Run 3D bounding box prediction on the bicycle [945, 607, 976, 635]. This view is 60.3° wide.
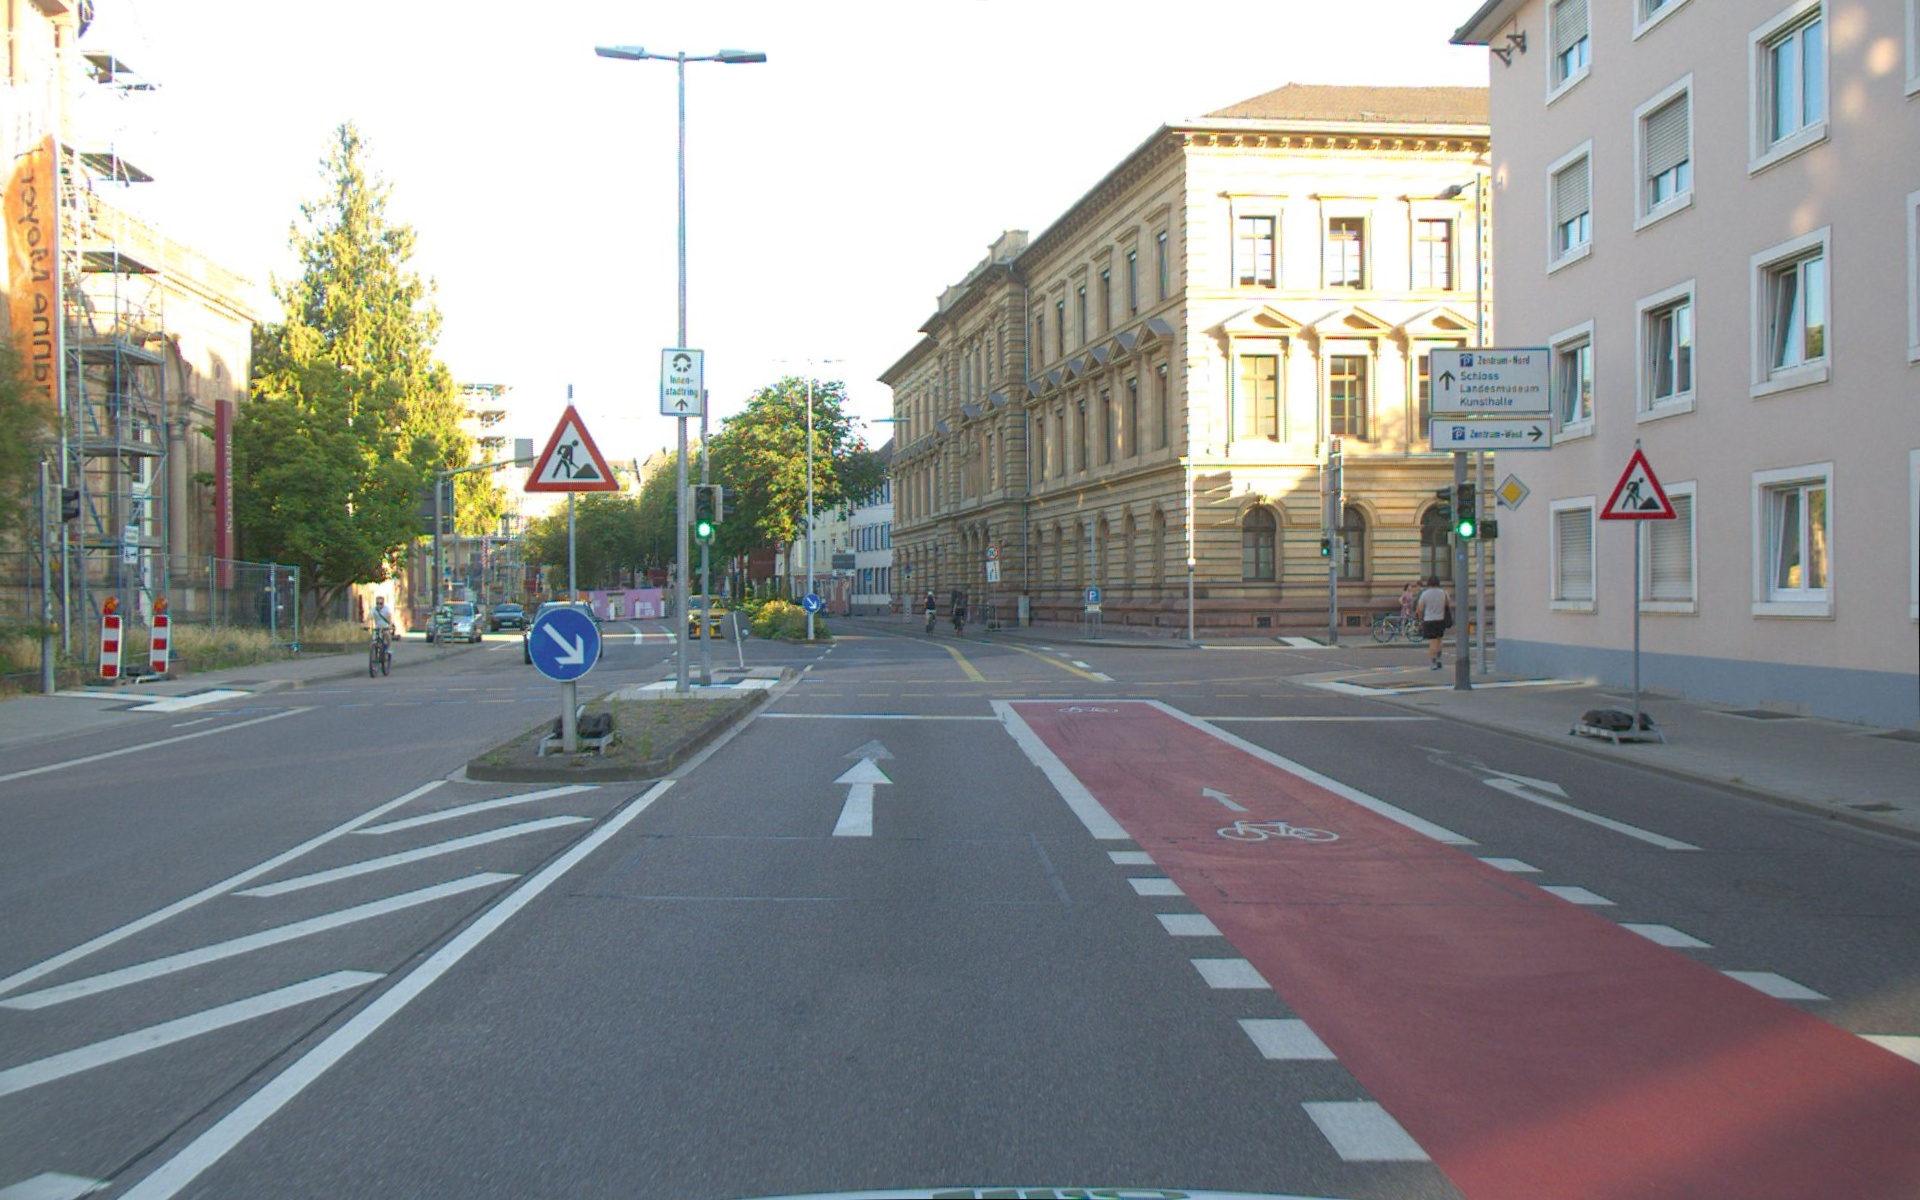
[{"bbox_3d":[0.011,0.829,66.168,0.642,1.089,2.249,2,-1,-15],"label":"bicycle"}]

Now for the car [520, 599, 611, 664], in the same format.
[{"bbox_3d":[-9.988,0.761,42.142,1.789,1.534,4.419,-1,0,-7],"label":"car"}]

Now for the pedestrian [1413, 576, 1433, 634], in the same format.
[{"bbox_3d":[15.108,0.161,53.958,0.523,1.890,0.622,-1,0,23],"label":"pedestrian"}]

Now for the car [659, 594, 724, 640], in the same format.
[{"bbox_3d":[-9.780,0.589,60.488,1.808,1.574,4.117,-1,0,-2],"label":"car"}]

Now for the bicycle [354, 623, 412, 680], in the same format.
[{"bbox_3d":[-12.140,1.067,34.849,0.739,1.109,1.929,-2,0,-8],"label":"bicycle"}]

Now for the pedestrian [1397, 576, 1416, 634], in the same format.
[{"bbox_3d":[14.648,0.165,54.305,0.446,1.890,0.421,0,0,-44],"label":"pedestrian"}]

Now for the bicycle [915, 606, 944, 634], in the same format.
[{"bbox_3d":[-1.223,0.797,65.799,0.659,1.089,1.891,1,-1,-18],"label":"bicycle"}]

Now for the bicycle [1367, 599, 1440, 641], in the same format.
[{"bbox_3d":[13.754,0.606,51.335,2.010,1.228,0.861,-1,2,-4],"label":"bicycle"}]

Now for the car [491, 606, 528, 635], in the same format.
[{"bbox_3d":[-22.979,1.044,84.391,1.651,1.374,3.873,-2,0,-13],"label":"car"}]

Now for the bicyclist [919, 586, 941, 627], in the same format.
[{"bbox_3d":[-1.188,0.251,65.736,0.658,1.593,0.695,2,-1,-18],"label":"bicyclist"}]

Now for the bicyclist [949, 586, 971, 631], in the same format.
[{"bbox_3d":[-0.004,0.329,66.260,0.639,1.791,0.861,2,0,-15],"label":"bicyclist"}]

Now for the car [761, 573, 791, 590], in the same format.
[{"bbox_3d":[-17.187,-1.728,154.538,1.787,1.587,3.838,0,0,-23],"label":"car"}]

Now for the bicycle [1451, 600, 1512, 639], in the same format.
[{"bbox_3d":[16.249,0.599,51.557,1.689,1.164,0.695,-1,2,-4],"label":"bicycle"}]

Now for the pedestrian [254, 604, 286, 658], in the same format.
[{"bbox_3d":[-20.814,0.940,49.903,0.722,1.606,0.761,0,0,-8],"label":"pedestrian"}]

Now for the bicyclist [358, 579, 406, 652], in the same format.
[{"bbox_3d":[-12.166,0.319,34.853,0.733,1.486,0.935,-2,0,-8],"label":"bicyclist"}]

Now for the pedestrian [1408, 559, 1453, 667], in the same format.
[{"bbox_3d":[9.070,0.239,31.896,0.768,2.049,0.995,0,0,13],"label":"pedestrian"}]

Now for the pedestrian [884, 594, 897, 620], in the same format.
[{"bbox_3d":[-4.993,0.507,118.633,0.801,1.796,1.036,1,0,-7],"label":"pedestrian"}]
